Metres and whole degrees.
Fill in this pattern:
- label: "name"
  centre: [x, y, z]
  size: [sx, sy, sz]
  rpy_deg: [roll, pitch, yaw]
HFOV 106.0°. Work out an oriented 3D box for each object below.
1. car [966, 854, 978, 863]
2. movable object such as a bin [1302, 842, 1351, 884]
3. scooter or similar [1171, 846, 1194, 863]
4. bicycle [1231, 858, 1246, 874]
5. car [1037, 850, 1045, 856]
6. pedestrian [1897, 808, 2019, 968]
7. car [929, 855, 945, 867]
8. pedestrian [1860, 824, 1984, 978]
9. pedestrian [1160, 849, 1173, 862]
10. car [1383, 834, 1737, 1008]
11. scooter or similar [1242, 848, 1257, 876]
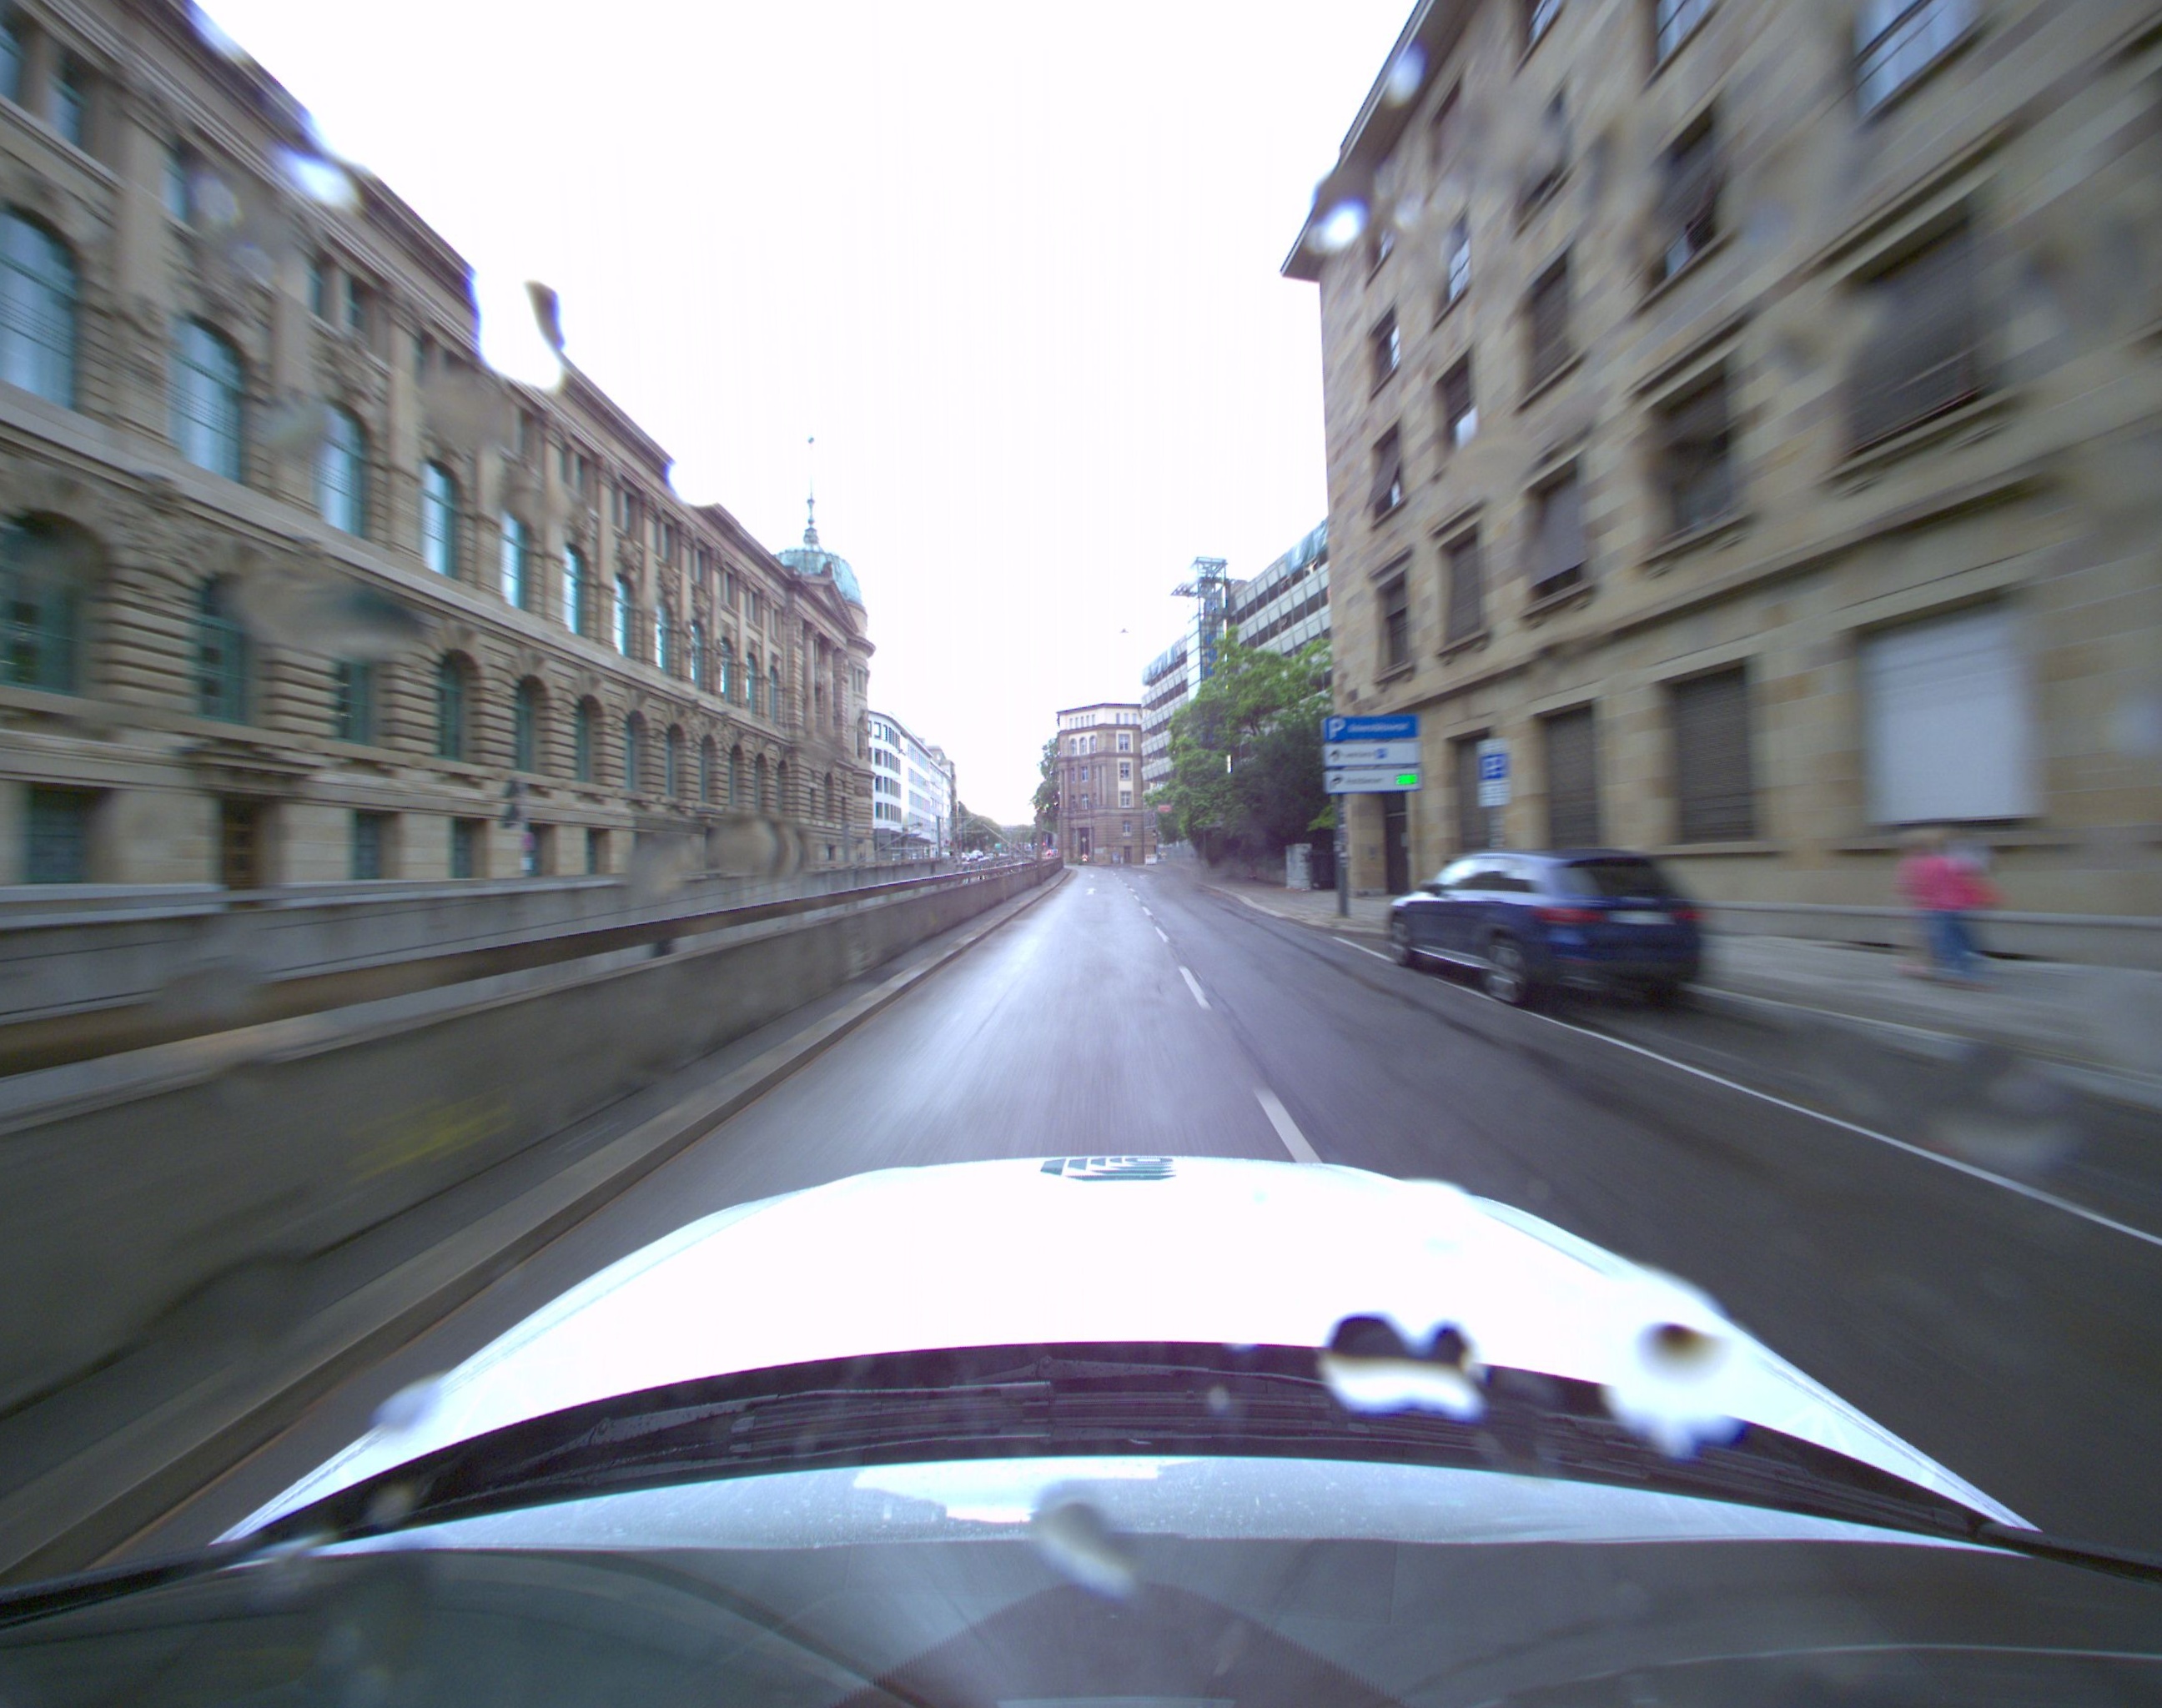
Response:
- label: "car"
  centre: [-19.092, 0.762, 142.778]
  size: [1.990, 1.527, 3.657]
  rpy_deg: [0, 0, -4]
- label: "movable object such as a bin"
  centre: [8.260, 0.300, 27.426]
  size: [1.234, 1.310, 1.234]
  rpy_deg: [-3, 0, 2]
- label: "scooter or similar"
  centre: [7.997, 0.066, 64.183]
  size: [1.643, 1.267, 0.737]
  rpy_deg: [-3, 1, -24]
- label: "bicycle"
  centre: [7.822, 0.598, 40.363]
  size: [0.499, 0.754, 1.211]
  rpy_deg: [-3, 0, 1]
- label: "car"
  centre: [-10.416, -0.323, 213.525]
  size: [1.990, 1.662, 3.994]
  rpy_deg: [0, 0, -4]
- label: "pedestrian"
  centre: [9.168, 0.344, 8.537]
  size: [0.522, 1.603, 0.674]
  rpy_deg: [-1, -1, 2]
- label: "car"
  centre: [-22.627, 1.109, 128.304]
  size: [1.990, 1.883, 4.920]
  rpy_deg: [0, 0, -4]
- label: "pedestrian"
  centre: [8.535, 0.459, 8.290]
  size: [0.523, 1.492, 0.673]
  rpy_deg: [-1, -1, -4]
- label: "pedestrian"
  centre: [7.837, 0.120, 74.656]
  size: [0.753, 1.123, 1.241]
  rpy_deg: [0, 0, -13]
- label: "car"
  centre: [5.317, 0.651, 9.809]
  size: [1.763, 1.619, 4.155]
  rpy_deg: [-1, -1, -1]
- label: "scooter or similar"
  centre: [7.844, 0.367, 37.913]
  size: [0.445, 1.259, 1.211]
  rpy_deg: [-3, 0, 1]
